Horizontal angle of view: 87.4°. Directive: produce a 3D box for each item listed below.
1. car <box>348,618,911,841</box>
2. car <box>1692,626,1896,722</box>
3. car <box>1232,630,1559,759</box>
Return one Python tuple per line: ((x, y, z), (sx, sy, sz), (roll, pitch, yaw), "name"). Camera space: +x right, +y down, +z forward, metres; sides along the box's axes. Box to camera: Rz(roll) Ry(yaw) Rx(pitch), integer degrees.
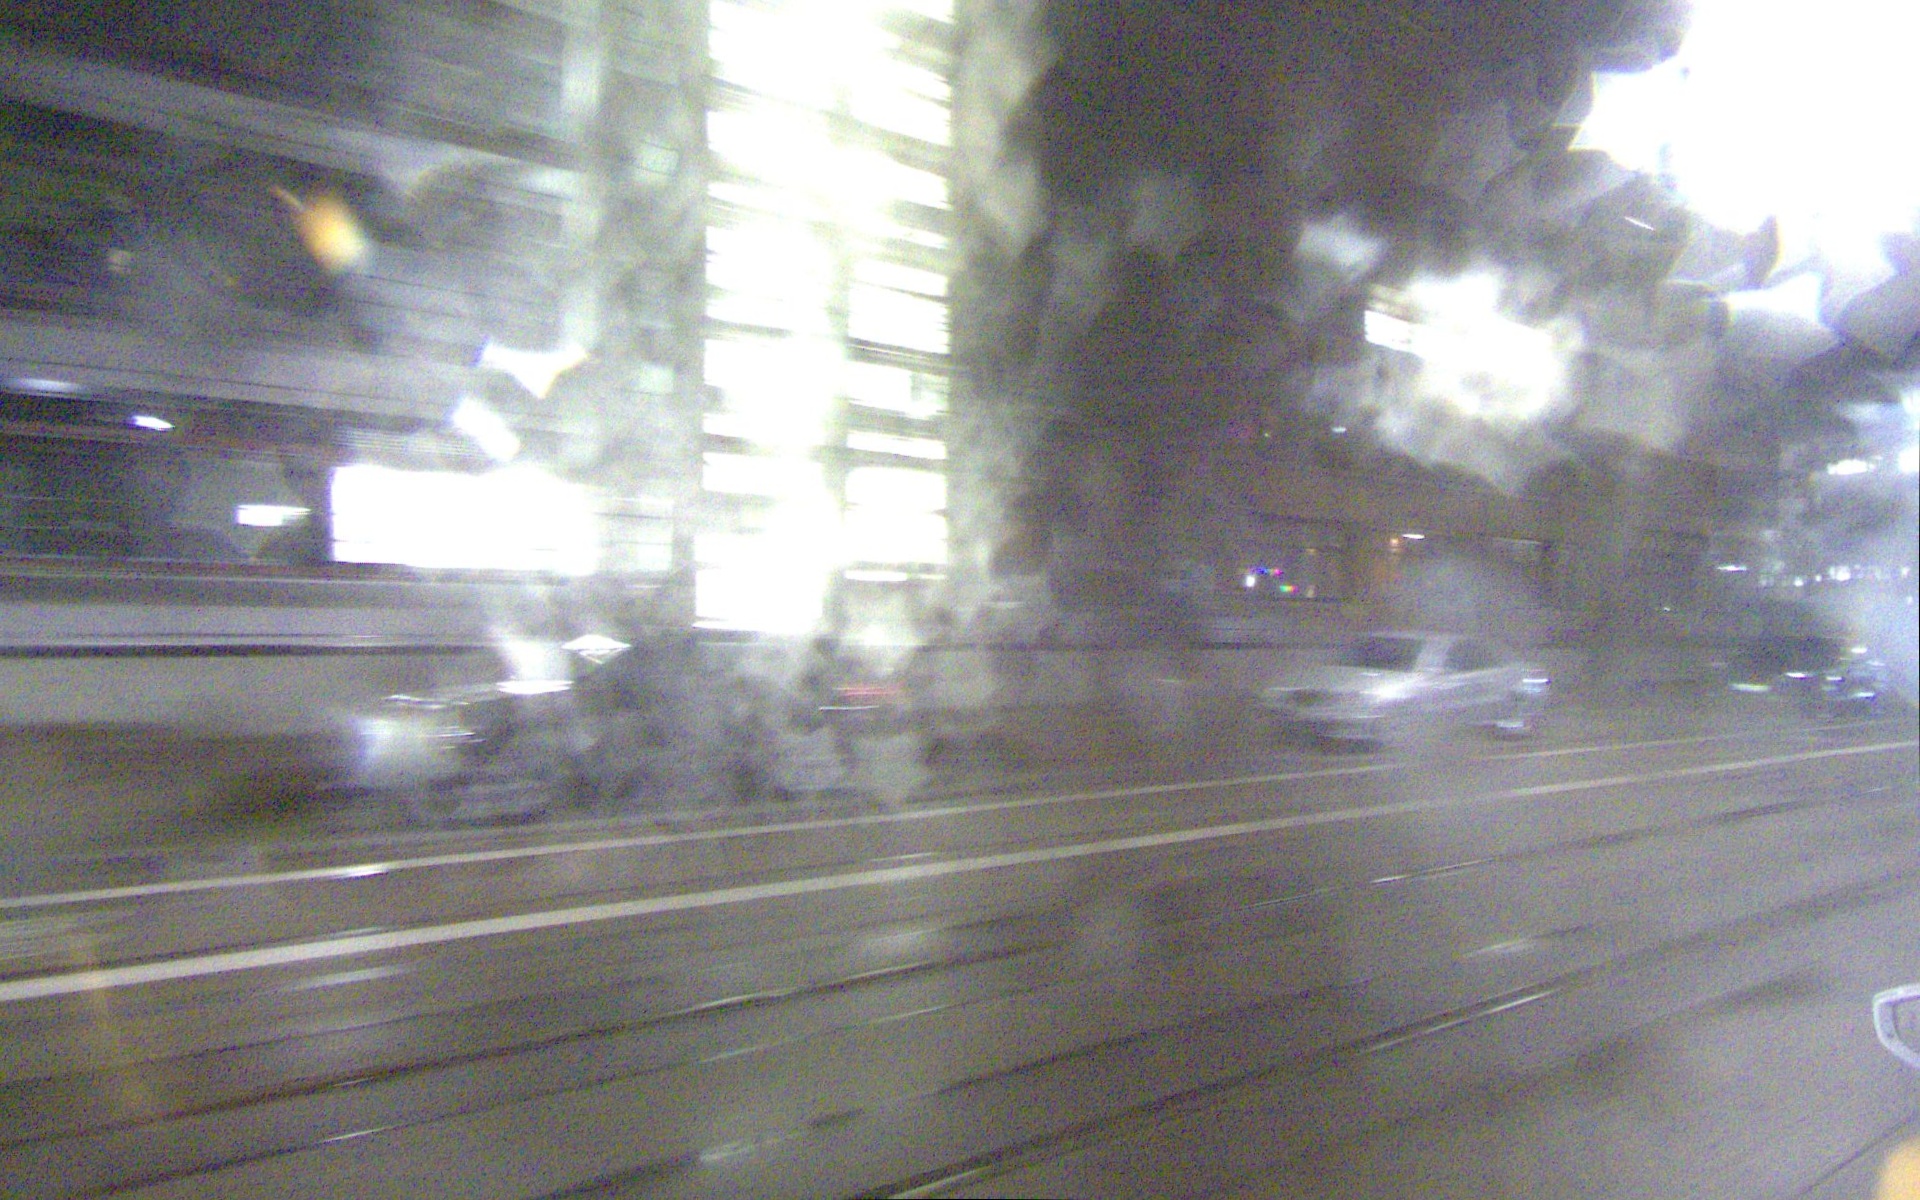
((-2.664, 0.908, 8.439), (4.165, 1.442, 1.829), (2, -2, -34), "car")
((16.524, 1.402, 19.853), (4.353, 1.566, 1.869), (2, 2, -34), "car")
((6.121, 1.187, 13.865), (4.911, 1.482, 1.876), (2, -2, -35), "car")
